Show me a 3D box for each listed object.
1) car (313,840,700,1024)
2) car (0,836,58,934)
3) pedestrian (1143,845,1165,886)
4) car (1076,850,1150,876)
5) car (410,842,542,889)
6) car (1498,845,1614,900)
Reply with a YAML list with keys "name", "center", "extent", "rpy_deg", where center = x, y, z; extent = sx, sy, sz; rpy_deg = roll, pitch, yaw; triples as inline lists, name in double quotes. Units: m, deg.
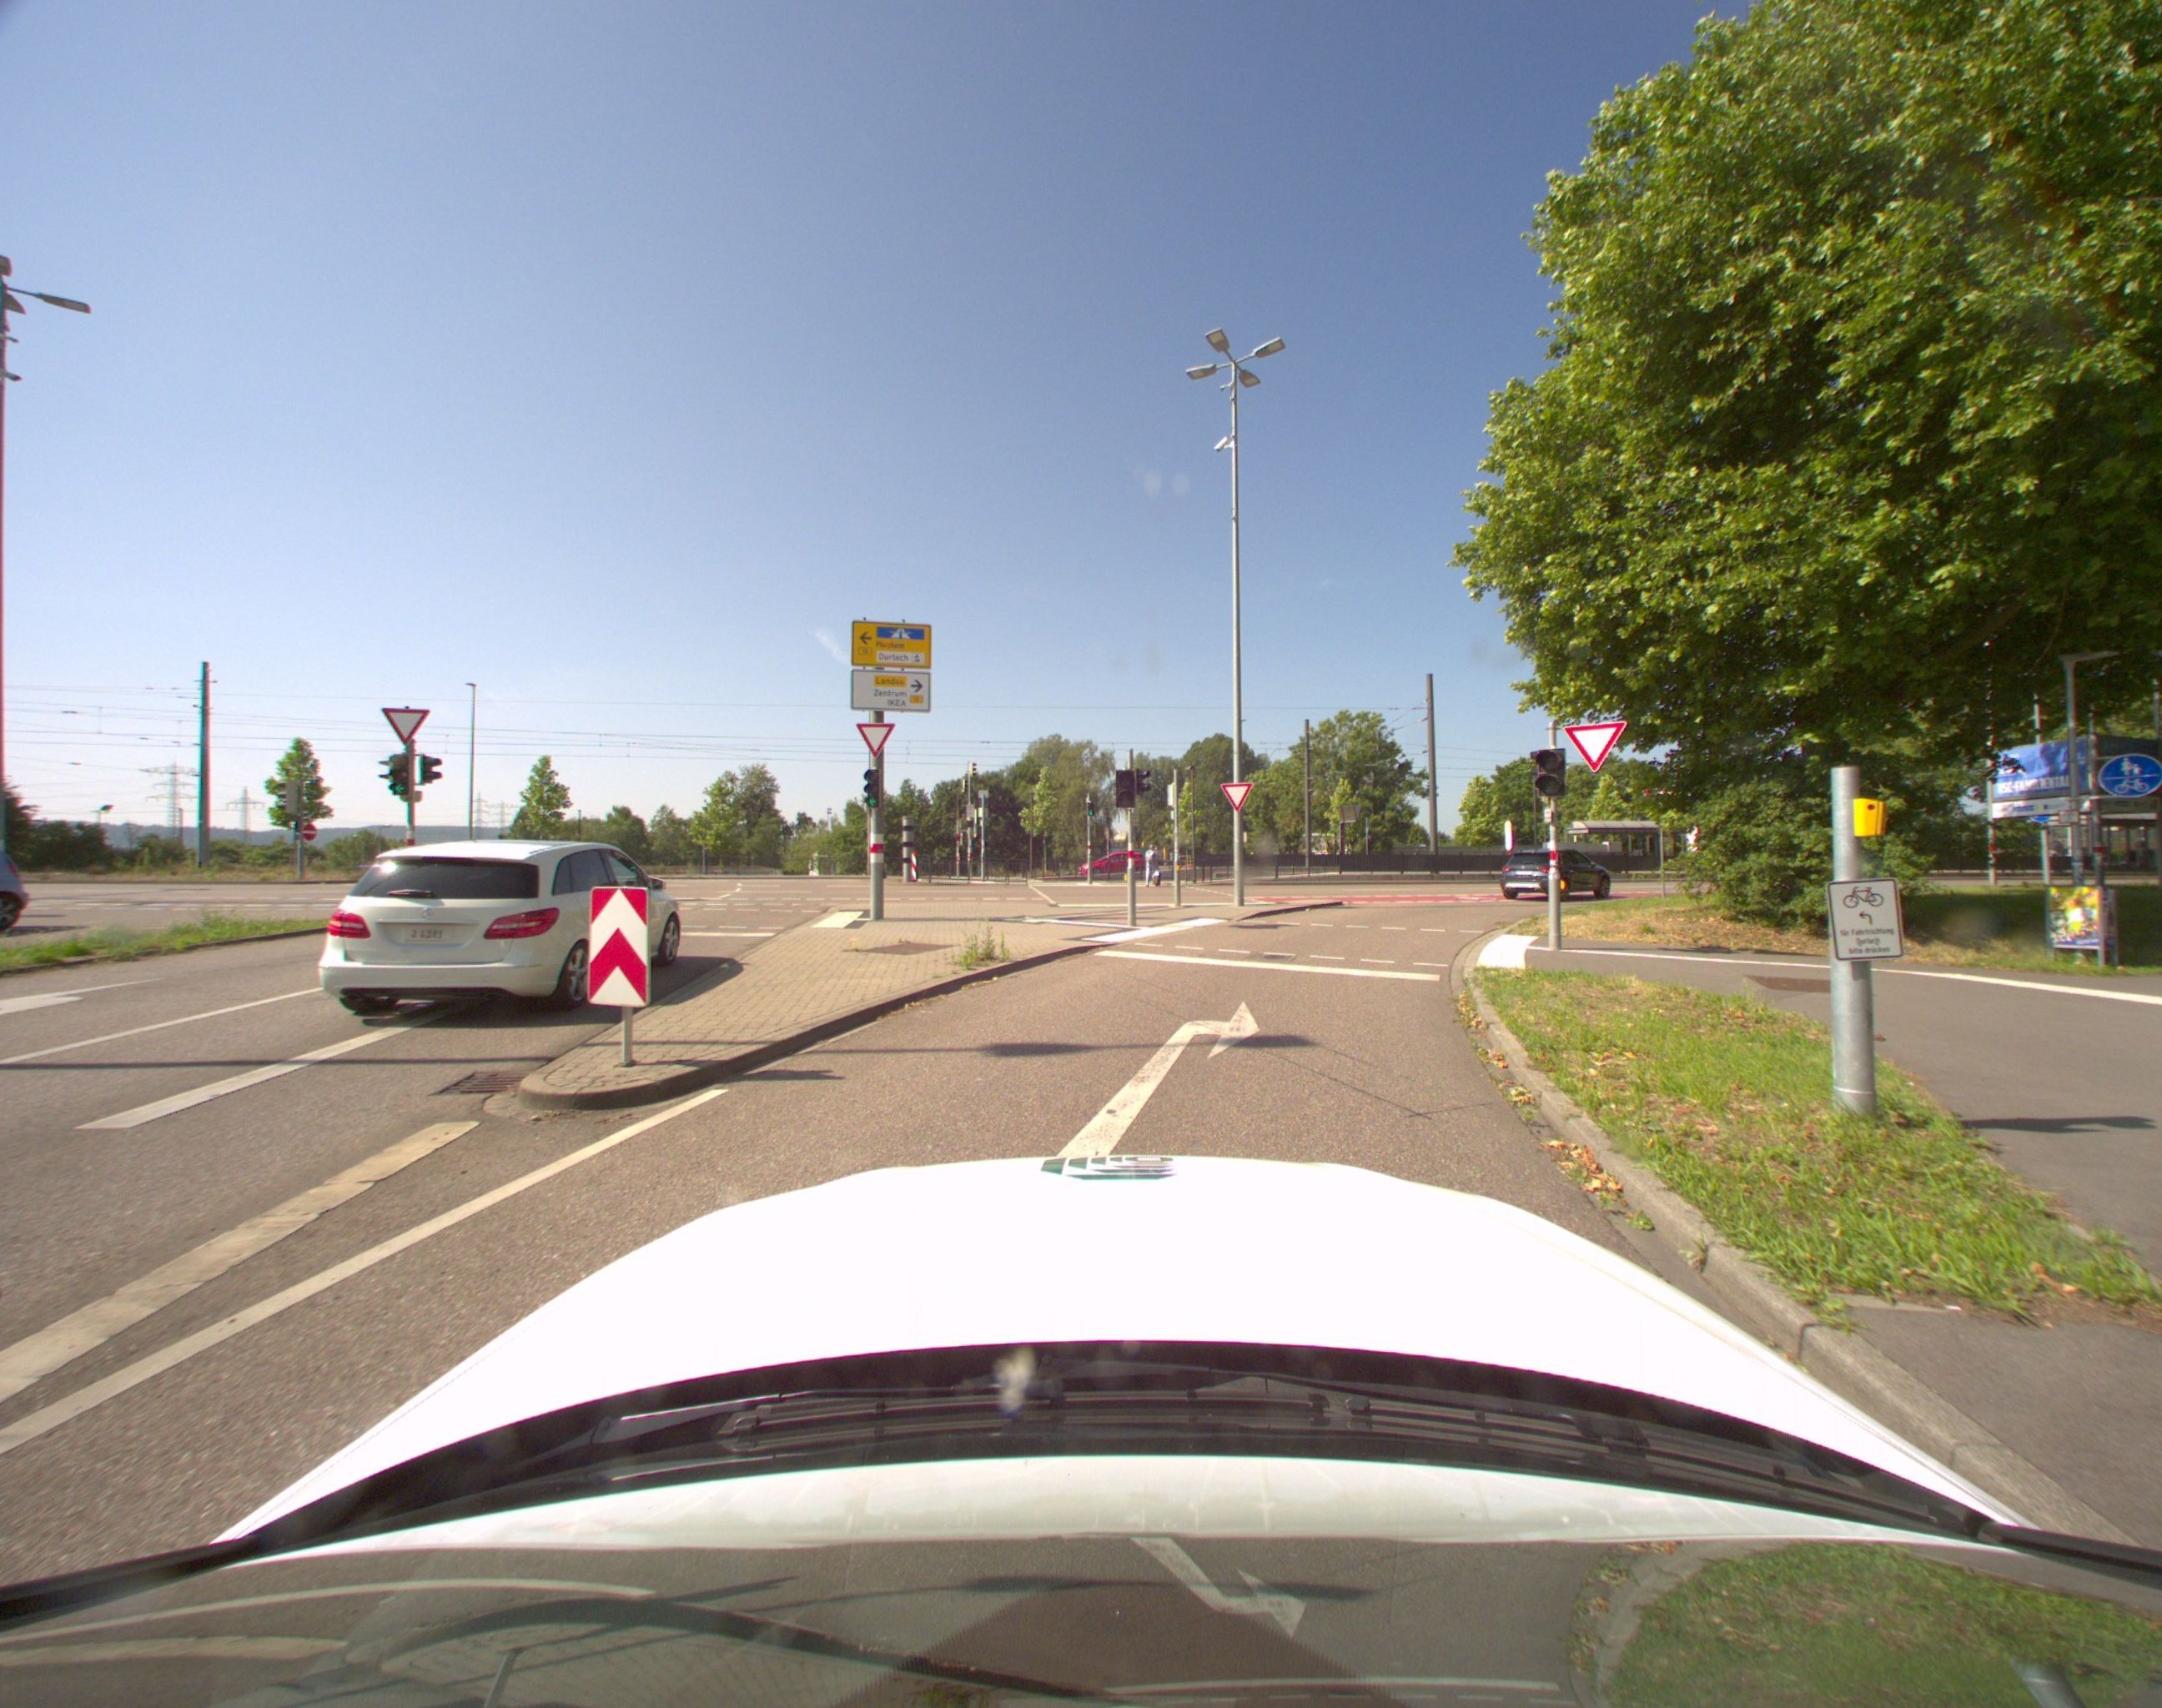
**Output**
- name: "car"
  center: [-5.607, 0.608, 8.729]
  extent: [1.742, 1.448, 4.372]
  rpy_deg: [0, 0, -11]
- name: "car"
  center: [-18.596, 0.544, 12.318]
  extent: [1.627, 1.624, 3.905]
  rpy_deg: [0, 1, -9]
- name: "pedestrian"
  center: [2.761, 0.436, 31.044]
  extent: [0.770, 1.510, 1.008]
  rpy_deg: [0, 1, 1]
- name: "car"
  center: [1.845, 0.473, 46.955]
  extent: [3.990, 1.445, 1.740]
  rpy_deg: [0, 0, -12]
- name: "car"
  center: [-21.434, 0.351, 29.130]
  extent: [2.062, 1.503, 4.791]
  rpy_deg: [0, 1, -14]
- name: "car"
  center: [14.212, 0.534, 24.343]
  extent: [3.389, 1.523, 1.658]
  rpy_deg: [1, 0, -33]
